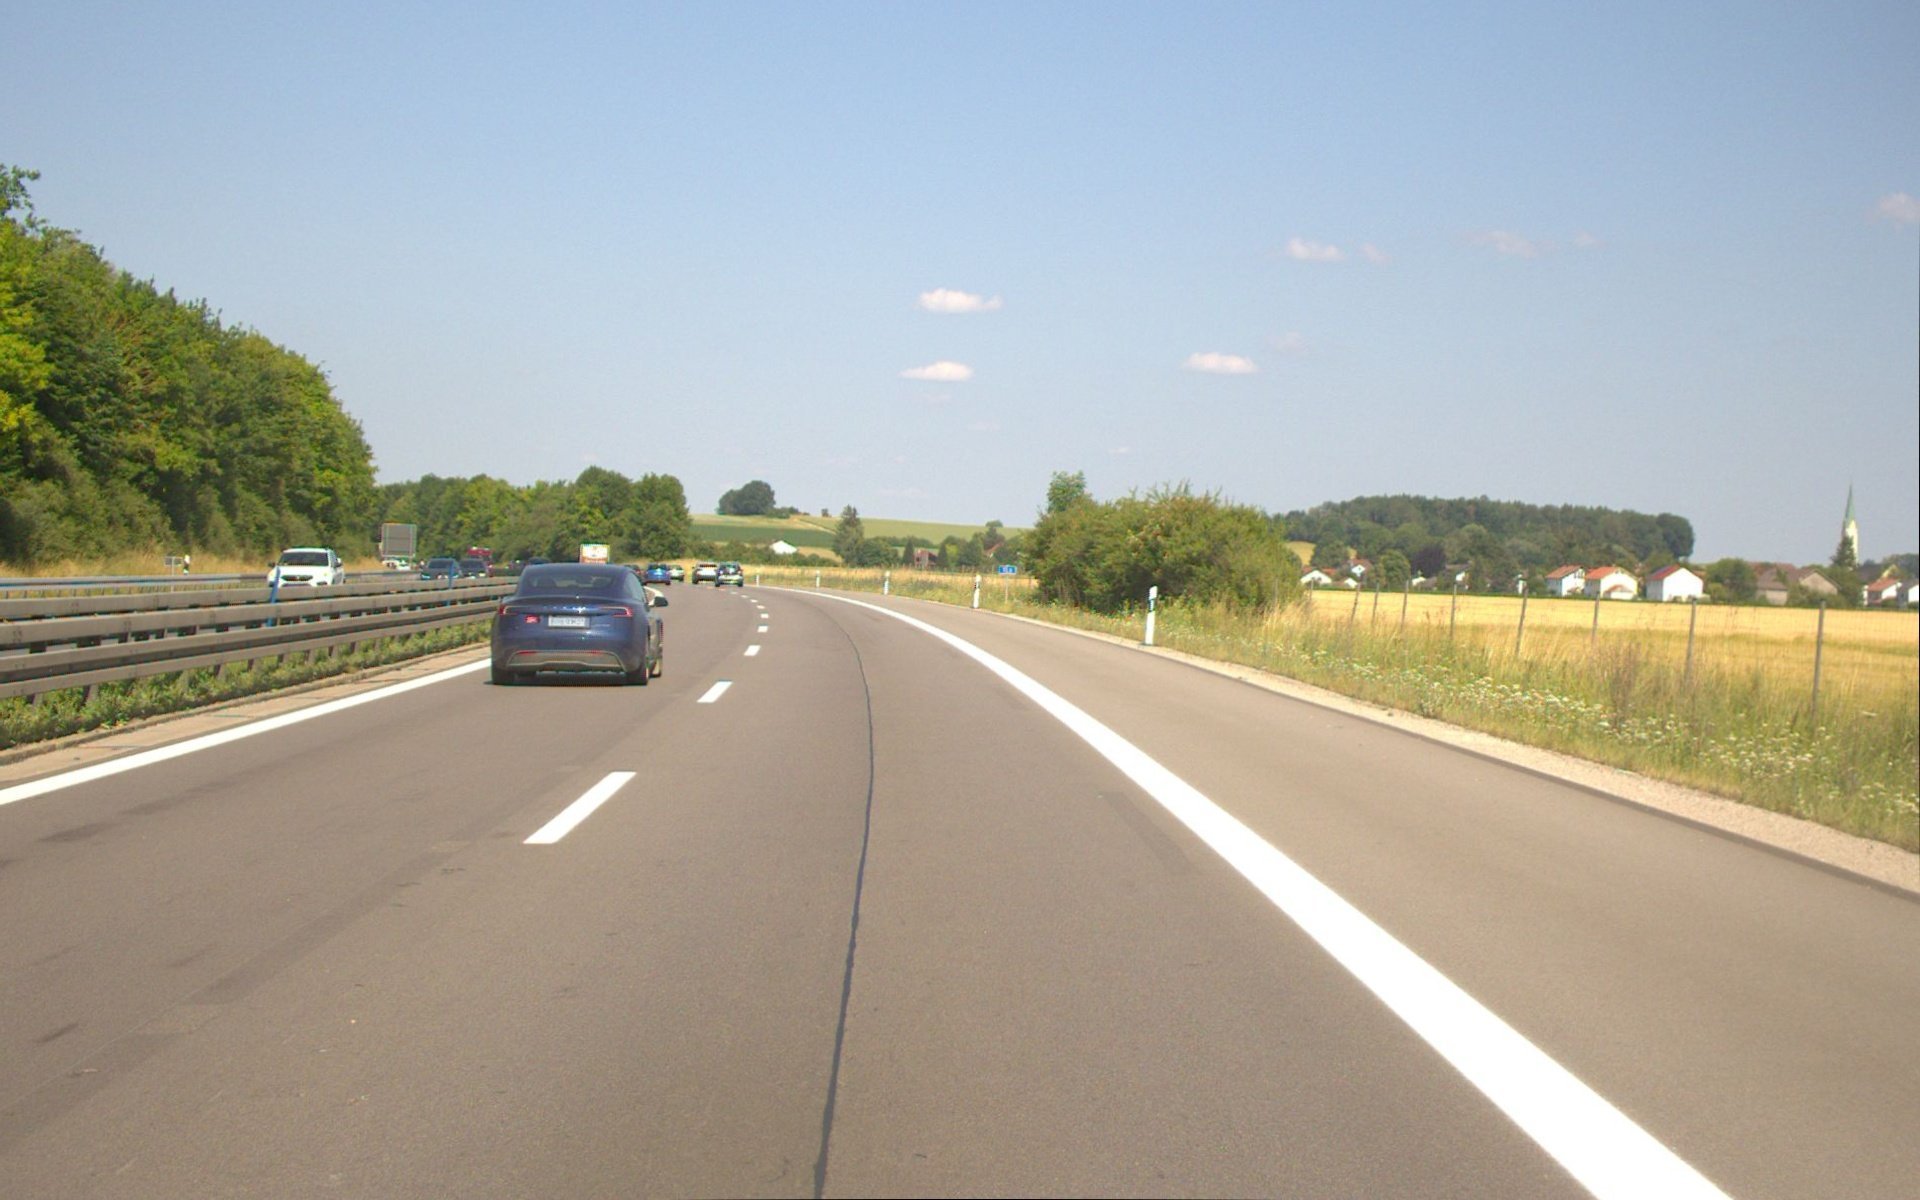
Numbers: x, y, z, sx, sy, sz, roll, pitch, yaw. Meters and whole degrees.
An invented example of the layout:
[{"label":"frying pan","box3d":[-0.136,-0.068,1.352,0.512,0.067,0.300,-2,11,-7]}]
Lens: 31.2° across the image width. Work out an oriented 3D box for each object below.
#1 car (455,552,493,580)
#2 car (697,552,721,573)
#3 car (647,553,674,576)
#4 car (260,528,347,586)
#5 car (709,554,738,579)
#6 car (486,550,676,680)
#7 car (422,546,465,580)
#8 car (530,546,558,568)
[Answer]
[{"label":"car","box3d":[-25.773,-1.804,182.279,1.662,1.417,4.001,1,1,-4]},{"label":"car","box3d":[-17.962,-2.682,245.858,1.676,1.448,3.592,1,1,-4]},{"label":"car","box3d":[-19.623,-2.328,225.245,1.676,1.448,3.592,1,1,-4]},{"label":"car","box3d":[-18.611,-1.221,97.620,1.751,1.559,4.581,2,1,-2]},{"label":"car","box3d":[-14.427,-2.061,209.648,1.676,1.448,3.592,1,1,-5]},{"label":"car","box3d":[-4.599,0.135,42.456,1.847,1.428,5.866,1,1,-2]},{"label":"car","box3d":[-23.358,-1.680,155.508,1.578,1.457,4.154,1,1,-5]},{"label":"car","box3d":[-27.993,-2.885,231.390,1.662,1.417,4.001,1,1,-4]}]
